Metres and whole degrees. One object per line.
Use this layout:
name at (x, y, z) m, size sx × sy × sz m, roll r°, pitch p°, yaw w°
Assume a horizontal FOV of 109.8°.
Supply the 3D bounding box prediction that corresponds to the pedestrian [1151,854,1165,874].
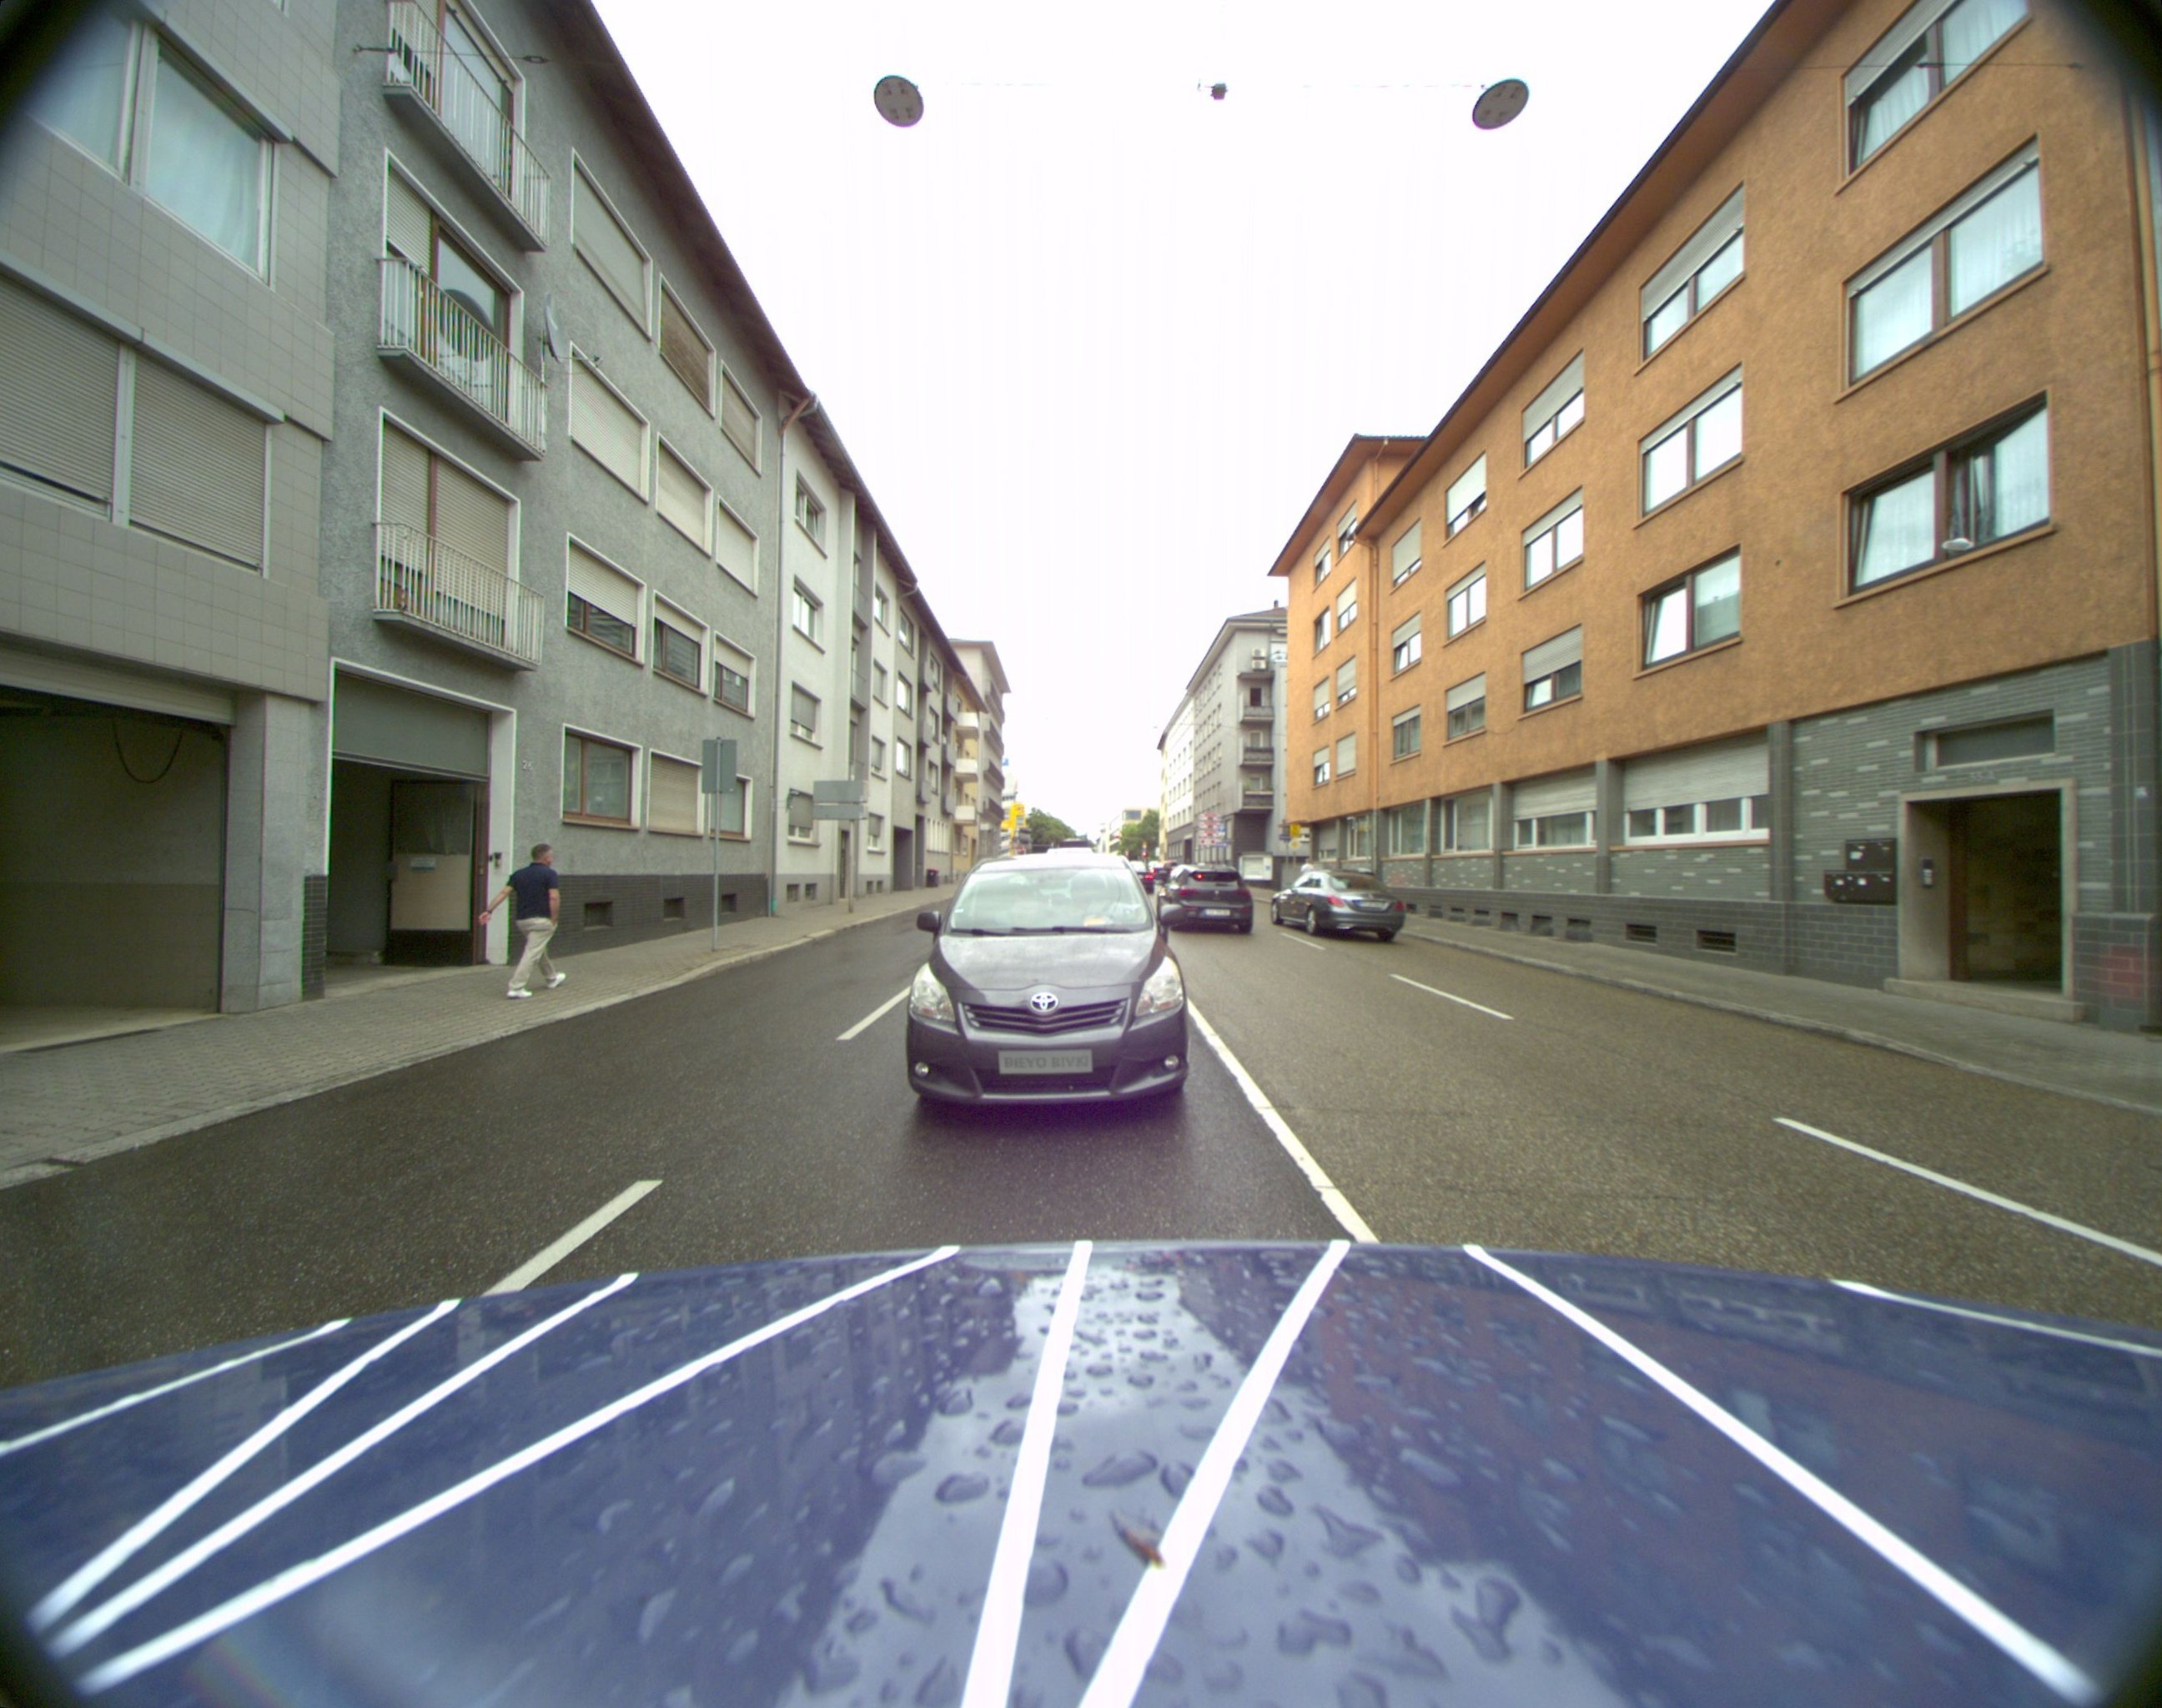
pedestrian at (8.196, 1.080, 80.726) m, size 1.309 × 2.002 × 1.258 m, roll -2°, pitch 1°, yaw 1°

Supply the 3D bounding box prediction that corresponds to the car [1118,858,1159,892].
car at (2.677, 0.957, 36.253) m, size 1.699 × 1.362 × 4.217 m, roll 2°, pitch 1°, yaw 1°

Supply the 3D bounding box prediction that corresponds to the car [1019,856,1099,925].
car at (-0.500, 0.890, 20.071) m, size 1.856 × 1.524 × 3.792 m, roll -2°, pitch 1°, yaw 1°

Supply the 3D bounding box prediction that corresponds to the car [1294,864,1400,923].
car at (8.049, 1.137, 23.436) m, size 1.799 × 1.466 × 4.217 m, roll -2°, pitch 1°, yaw 1°

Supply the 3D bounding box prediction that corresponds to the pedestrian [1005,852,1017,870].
pedestrian at (-6.907, 0.714, 74.617) m, size 1.119 × 1.741 × 0.961 m, roll 1°, pitch 1°, yaw -5°

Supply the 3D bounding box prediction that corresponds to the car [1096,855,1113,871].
car at (2.848, 1.060, 92.762) m, size 1.856 × 1.712 × 4.217 m, roll -2°, pitch 1°, yaw 1°

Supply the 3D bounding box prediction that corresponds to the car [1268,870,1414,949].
car at (5.733, 1.149, 17.338) m, size 1.699 × 1.362 × 4.365 m, roll 3°, pitch 1°, yaw -1°

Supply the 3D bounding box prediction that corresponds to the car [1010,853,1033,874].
car at (-5.126, 0.791, 65.862) m, size 1.856 × 1.663 × 4.215 m, roll -2°, pitch 1°, yaw -4°

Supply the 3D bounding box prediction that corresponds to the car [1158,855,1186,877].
car at (7.820, 0.985, 65.728) m, size 1.856 × 1.712 × 4.217 m, roll -2°, pitch 1°, yaw 1°

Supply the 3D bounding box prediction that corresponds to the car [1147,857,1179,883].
car at (5.781, 1.105, 54.011) m, size 1.699 × 1.530 × 4.435 m, roll 4°, pitch 1°, yaw 0°

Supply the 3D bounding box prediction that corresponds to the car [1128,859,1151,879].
car at (5.459, 1.359, 71.634) m, size 1.856 × 1.651 × 4.610 m, roll -2°, pitch 1°, yaw 1°

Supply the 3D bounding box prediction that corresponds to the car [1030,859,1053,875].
car at (-3.785, 1.216, 72.928) m, size 1.856 × 1.369 × 4.217 m, roll -2°, pitch 1°, yaw 1°

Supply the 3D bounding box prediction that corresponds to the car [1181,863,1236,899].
car at (5.802, 1.194, 35.037) m, size 1.727 × 1.464 × 4.373 m, roll 2°, pitch 0°, yaw -1°

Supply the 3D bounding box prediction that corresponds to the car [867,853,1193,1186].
car at (-0.247, 0.898, 6.228) m, size 1.699 × 1.712 × 4.217 m, roll -2°, pitch 1°, yaw 1°

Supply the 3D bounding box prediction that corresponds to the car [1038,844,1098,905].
car at (-0.391, 0.633, 26.577) m, size 1.856 × 1.882 × 4.217 m, roll -2°, pitch 1°, yaw 1°

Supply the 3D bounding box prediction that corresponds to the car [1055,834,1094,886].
car at (-0.327, 0.294, 43.620) m, size 2.033 × 2.731 × 4.368 m, roll -2°, pitch 1°, yaw 1°

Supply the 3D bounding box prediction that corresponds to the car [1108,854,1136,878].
car at (2.875, 0.798, 53.645) m, size 1.622 × 1.530 × 4.216 m, roll 2°, pitch 1°, yaw -1°

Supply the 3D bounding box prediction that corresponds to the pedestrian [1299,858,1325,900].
pedestrian at (9.348, 1.015, 30.805) m, size 0.768 × 1.630 × 1.023 m, roll -2°, pitch 1°, yaw 5°

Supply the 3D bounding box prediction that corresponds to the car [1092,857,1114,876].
car at (1.923, 1.076, 68.387) m, size 1.749 × 1.530 × 4.052 m, roll 2°, pitch 1°, yaw -1°

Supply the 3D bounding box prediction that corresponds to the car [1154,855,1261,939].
car at (2.802, 0.893, 17.750) m, size 1.699 × 1.571 × 4.216 m, roll 2°, pitch 1°, yaw 0°

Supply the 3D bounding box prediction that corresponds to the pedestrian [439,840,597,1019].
pedestrian at (-6.388, 0.802, 8.694) m, size 0.871 × 1.855 × 1.120 m, roll 4°, pitch 1°, yaw 1°
